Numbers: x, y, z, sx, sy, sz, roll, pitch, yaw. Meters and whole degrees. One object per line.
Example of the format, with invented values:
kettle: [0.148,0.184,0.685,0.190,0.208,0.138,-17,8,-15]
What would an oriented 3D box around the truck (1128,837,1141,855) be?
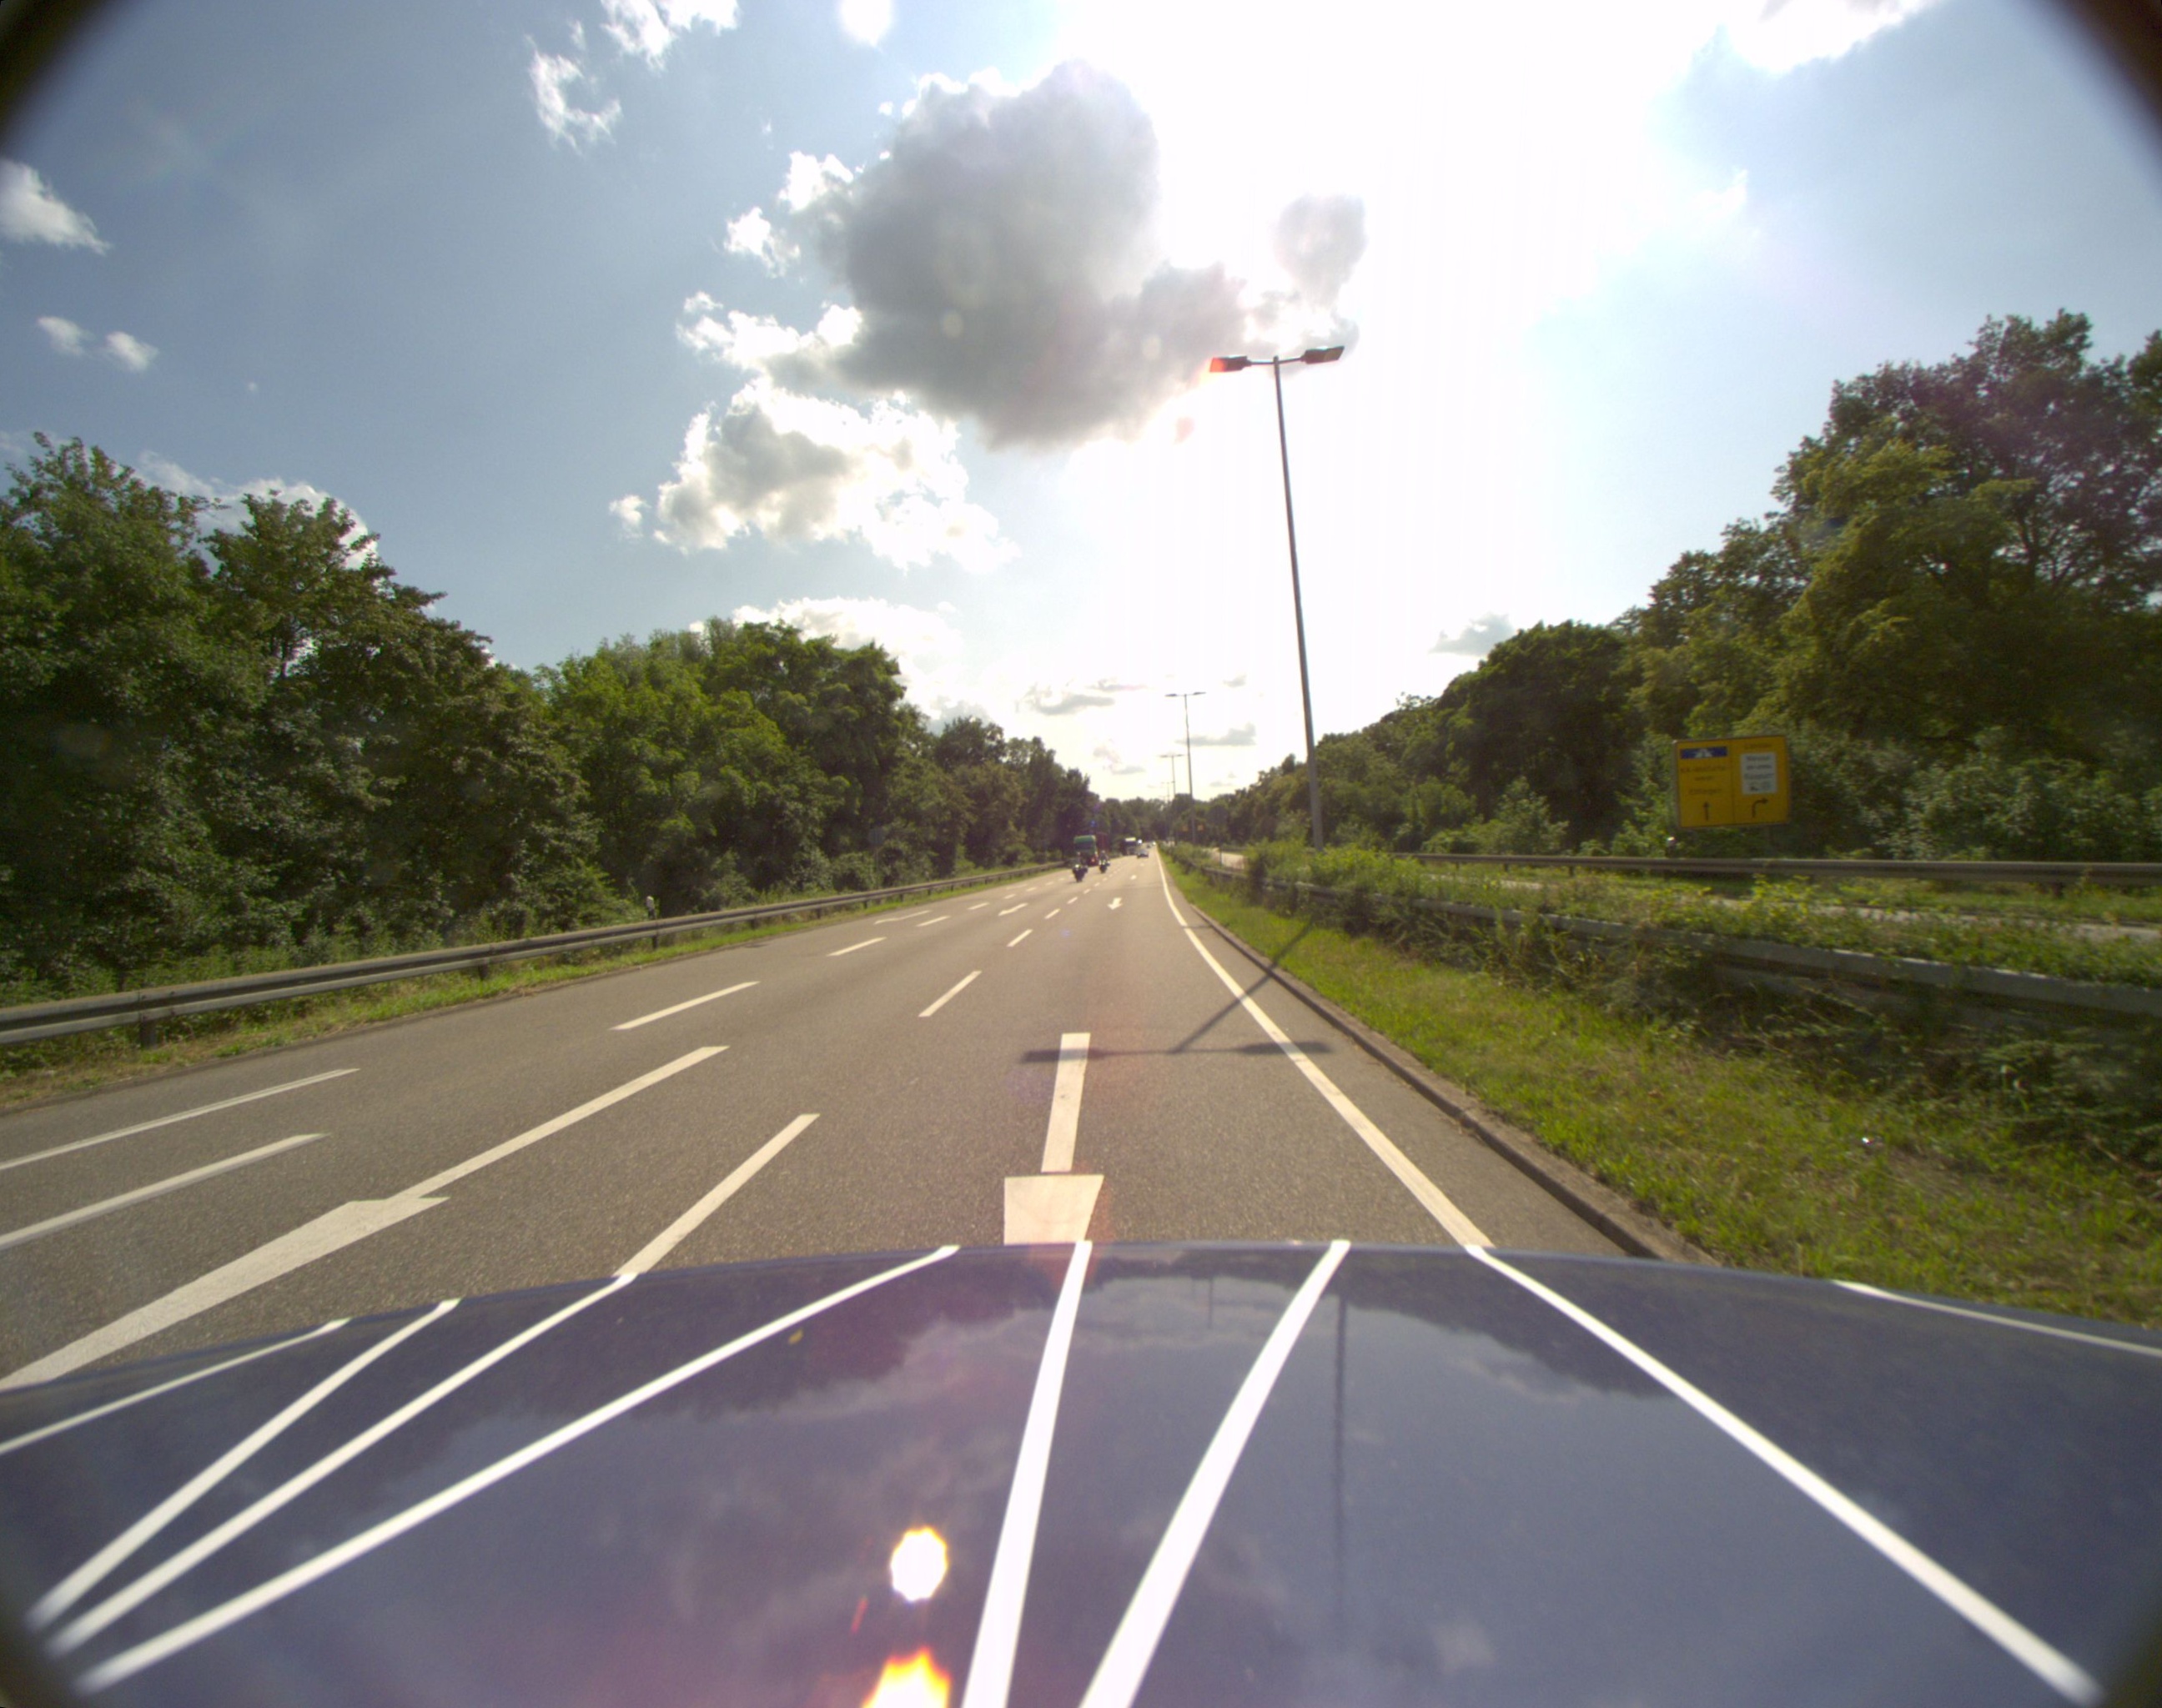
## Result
truck: [12.594,-1.890,178.634,2.690,3.948,7.386,-5,0,5]

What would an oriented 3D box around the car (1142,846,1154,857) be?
car: [10.512,-0.393,118.617,1.735,1.468,4.048,-3,0,6]

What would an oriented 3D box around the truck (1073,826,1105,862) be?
truck: [1.004,-1.157,88.037,2.590,3.871,6.065,-4,0,8]

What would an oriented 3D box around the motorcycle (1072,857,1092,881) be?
motorcycle: [0.068,0.872,45.201,0.939,1.375,2.371,-3,0,4]

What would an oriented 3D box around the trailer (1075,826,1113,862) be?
trailer: [1.788,-1.207,93.663,2.590,3.871,14.509,-4,0,8]

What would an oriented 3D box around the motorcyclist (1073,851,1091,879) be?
motorcyclist: [0.059,0.636,45.151,0.939,1.581,1.083,-3,0,4]

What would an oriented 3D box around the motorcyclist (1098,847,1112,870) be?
motorcyclist: [1.839,0.347,58.154,0.867,1.690,0.895,-3,0,5]

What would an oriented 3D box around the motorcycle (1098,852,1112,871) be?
motorcycle: [1.841,0.603,58.032,0.867,1.381,2.371,-3,0,5]
